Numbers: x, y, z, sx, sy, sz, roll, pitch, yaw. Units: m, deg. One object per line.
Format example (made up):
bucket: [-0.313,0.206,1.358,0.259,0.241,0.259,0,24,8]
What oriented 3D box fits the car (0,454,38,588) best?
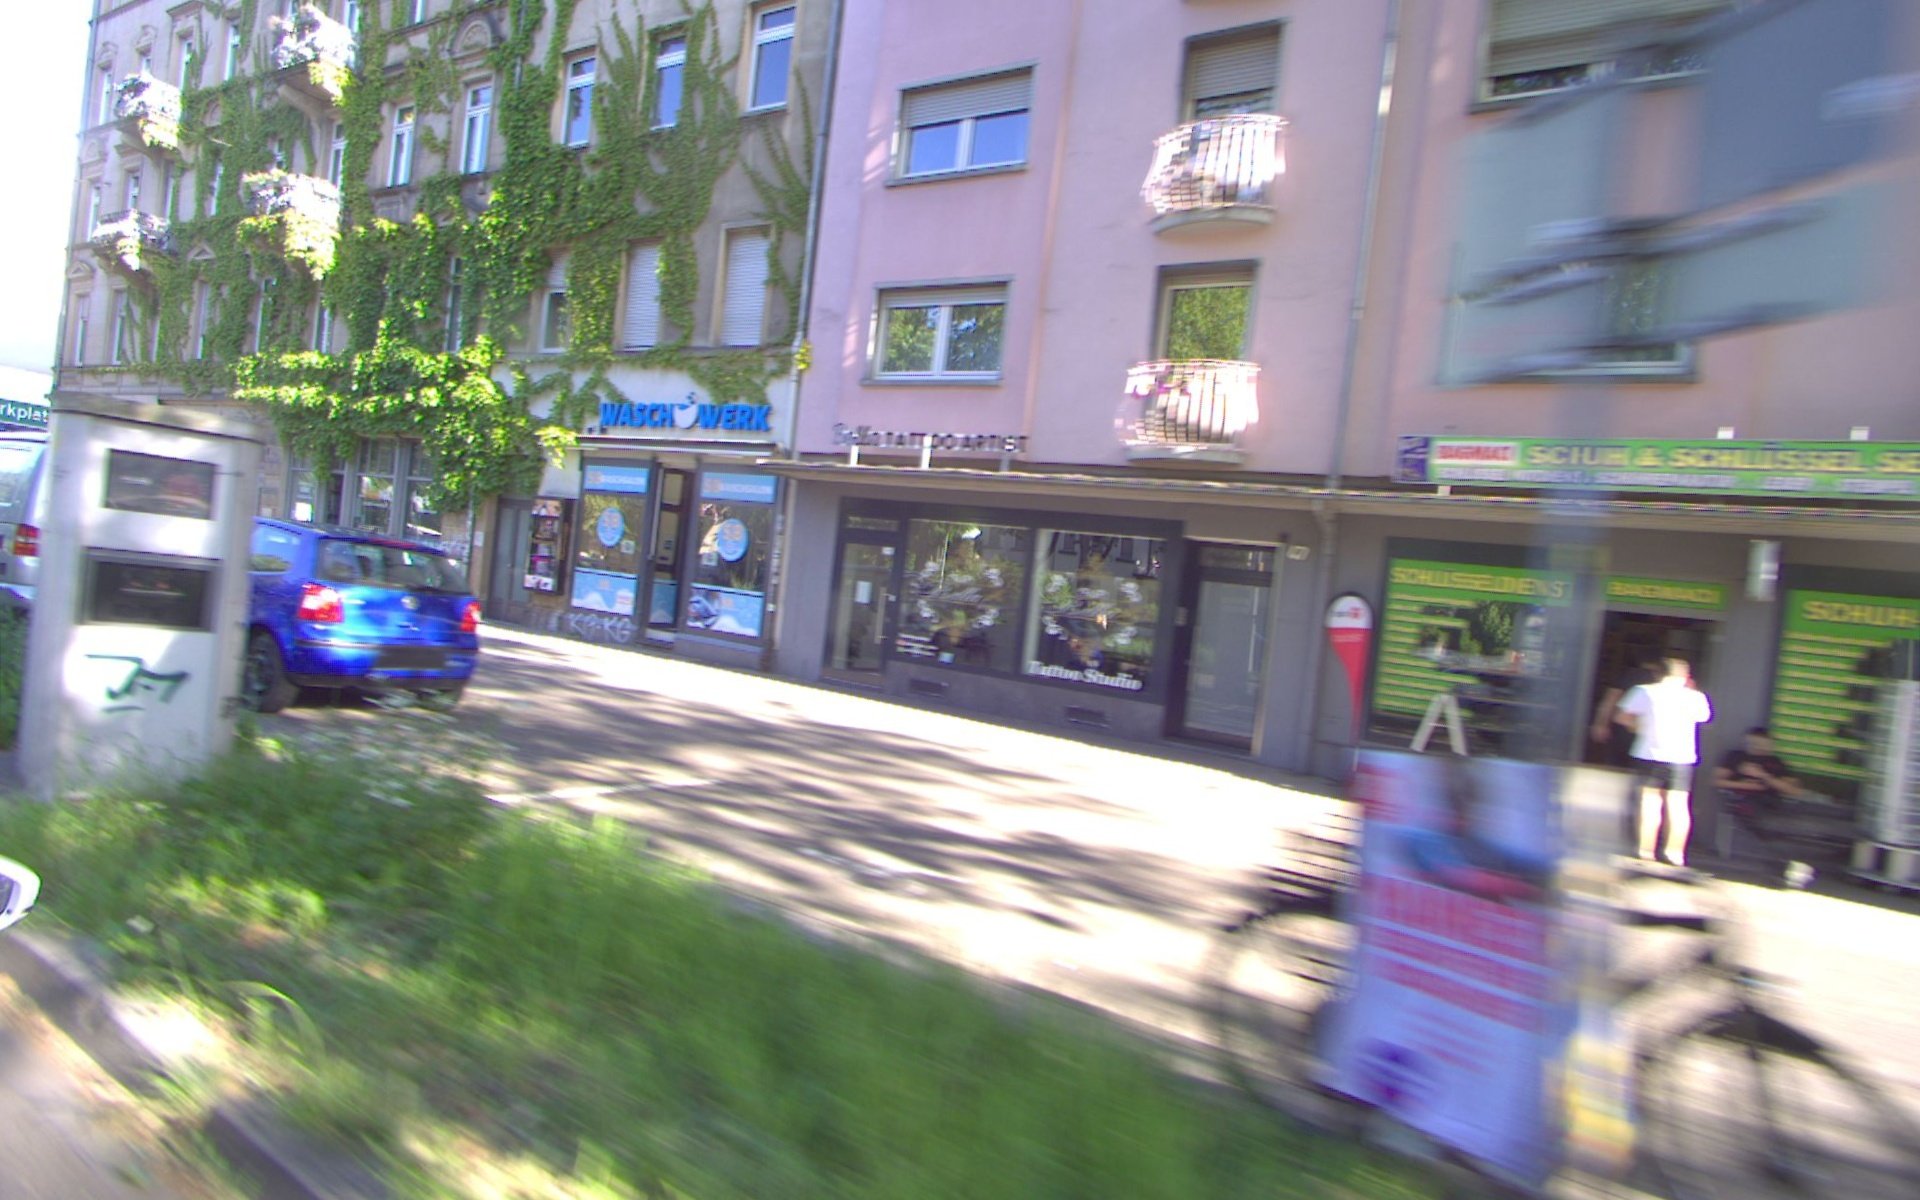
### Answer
car: [-15.002,-1.322,14.180,3.934,1.786,1.866,7,0,32]

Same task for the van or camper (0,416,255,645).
van or camper: [-10.269,-0.853,11.239,5.008,2.039,1.886,7,1,30]

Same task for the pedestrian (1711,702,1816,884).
pedestrian: [7.238,1.710,9.092,0.508,1.489,0.697,7,1,32]

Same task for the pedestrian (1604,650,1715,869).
pedestrian: [6.060,1.353,8.748,0.572,1.778,0.416,7,4,32]

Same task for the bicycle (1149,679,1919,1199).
bicycle: [1.450,0.942,2.607,1.723,1.229,0.465,7,1,35]

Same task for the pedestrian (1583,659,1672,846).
pedestrian: [6.437,1.440,9.733,0.502,1.673,0.683,7,4,31]

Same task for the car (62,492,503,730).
car: [-5.954,0.029,8.758,3.763,1.498,1.592,7,0,30]
